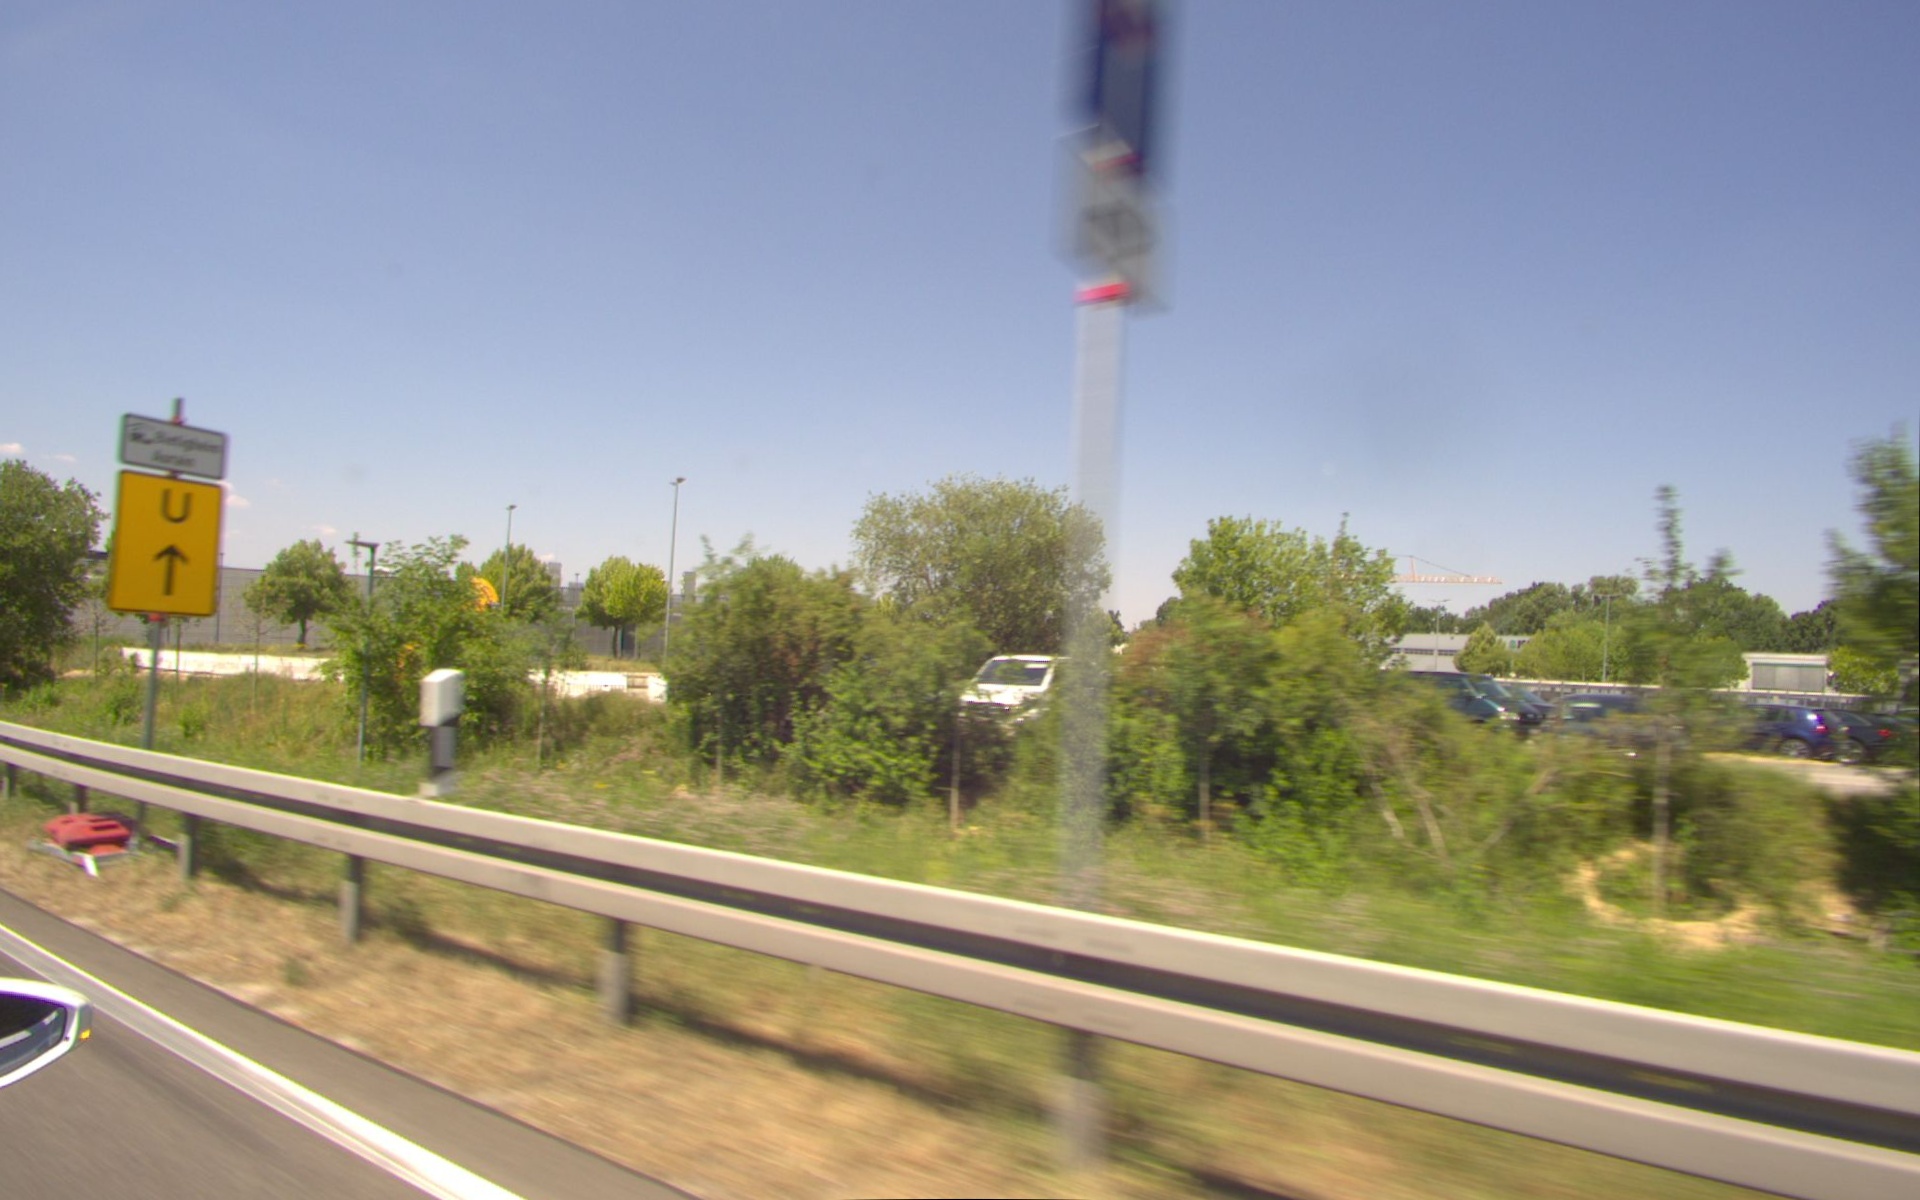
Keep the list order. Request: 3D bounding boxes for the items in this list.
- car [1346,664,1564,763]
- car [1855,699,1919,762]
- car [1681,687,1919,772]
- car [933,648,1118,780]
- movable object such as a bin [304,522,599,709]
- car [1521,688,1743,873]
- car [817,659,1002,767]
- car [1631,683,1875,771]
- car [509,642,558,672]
[{"bbox_3d":[13.517,3.060,27.715,1.973,2.198,5.125,5,-2,-30],"label":"car"},{"bbox_3d":[30.132,4.067,30.002,1.973,1.756,4.545,5,-3,-30],"label":"car"},{"bbox_3d":[22.502,3.417,26.979,1.973,1.756,4.545,5,-3,-30],"label":"car"},{"bbox_3d":[1.566,2.296,21.235,2.099,2.286,5.224,3,-2,24],"label":"car"},{"bbox_3d":[-16.464,0.406,32.297,9.077,5.327,3.427,3,-2,26],"label":"movable object such as a bin"},{"bbox_3d":[10.785,2.719,16.538,2.099,2.286,5.224,3,-2,24],"label":"car"},{"bbox_3d":[-0.991,2.421,22.179,1.970,1.993,4.293,3,-3,30],"label":"car"},{"bbox_3d":[20.437,3.236,26.018,1.973,1.756,4.545,5,-3,-30],"label":"car"},{"bbox_3d":[-27.810,3.666,65.184,2.075,1.838,5.314,3,-4,-32],"label":"car"}]
